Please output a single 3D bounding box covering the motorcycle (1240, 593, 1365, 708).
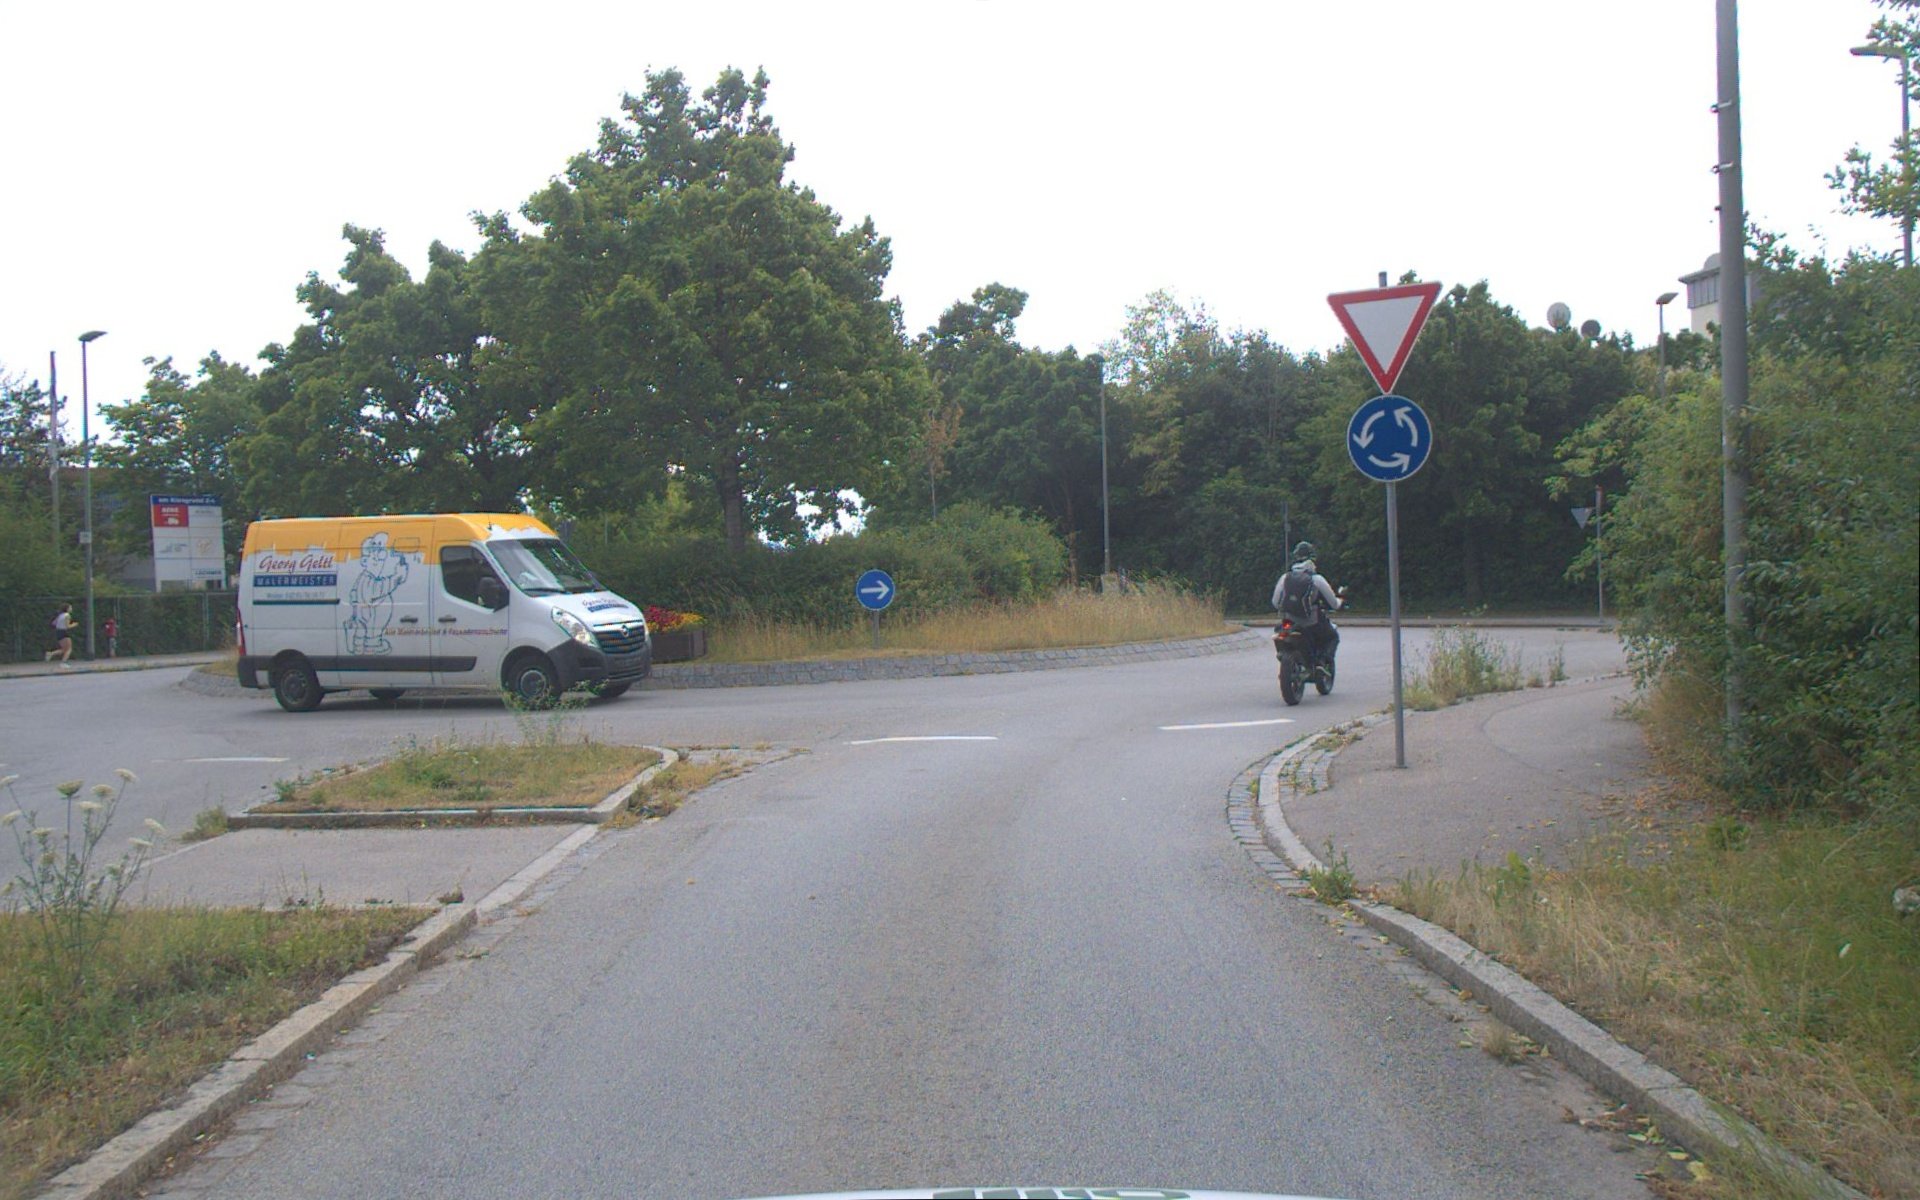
[{"bbox_3d":[3.965,0.538,18.977,0.878,1.178,2.620,-1,1,23],"label":"motorcycle"}]

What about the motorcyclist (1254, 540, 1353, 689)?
[{"bbox_3d":[3.955,0.158,18.982,0.844,1.652,1.190,-1,0,24],"label":"motorcyclist"}]

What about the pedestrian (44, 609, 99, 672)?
[{"bbox_3d":[-21.706,0.982,40.402,0.618,1.494,0.949,-2,1,24],"label":"pedestrian"}]

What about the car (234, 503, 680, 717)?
[{"bbox_3d":[-6.588,0.152,21.661,5.313,2.494,2.169,-2,1,22],"label":"car"}]
